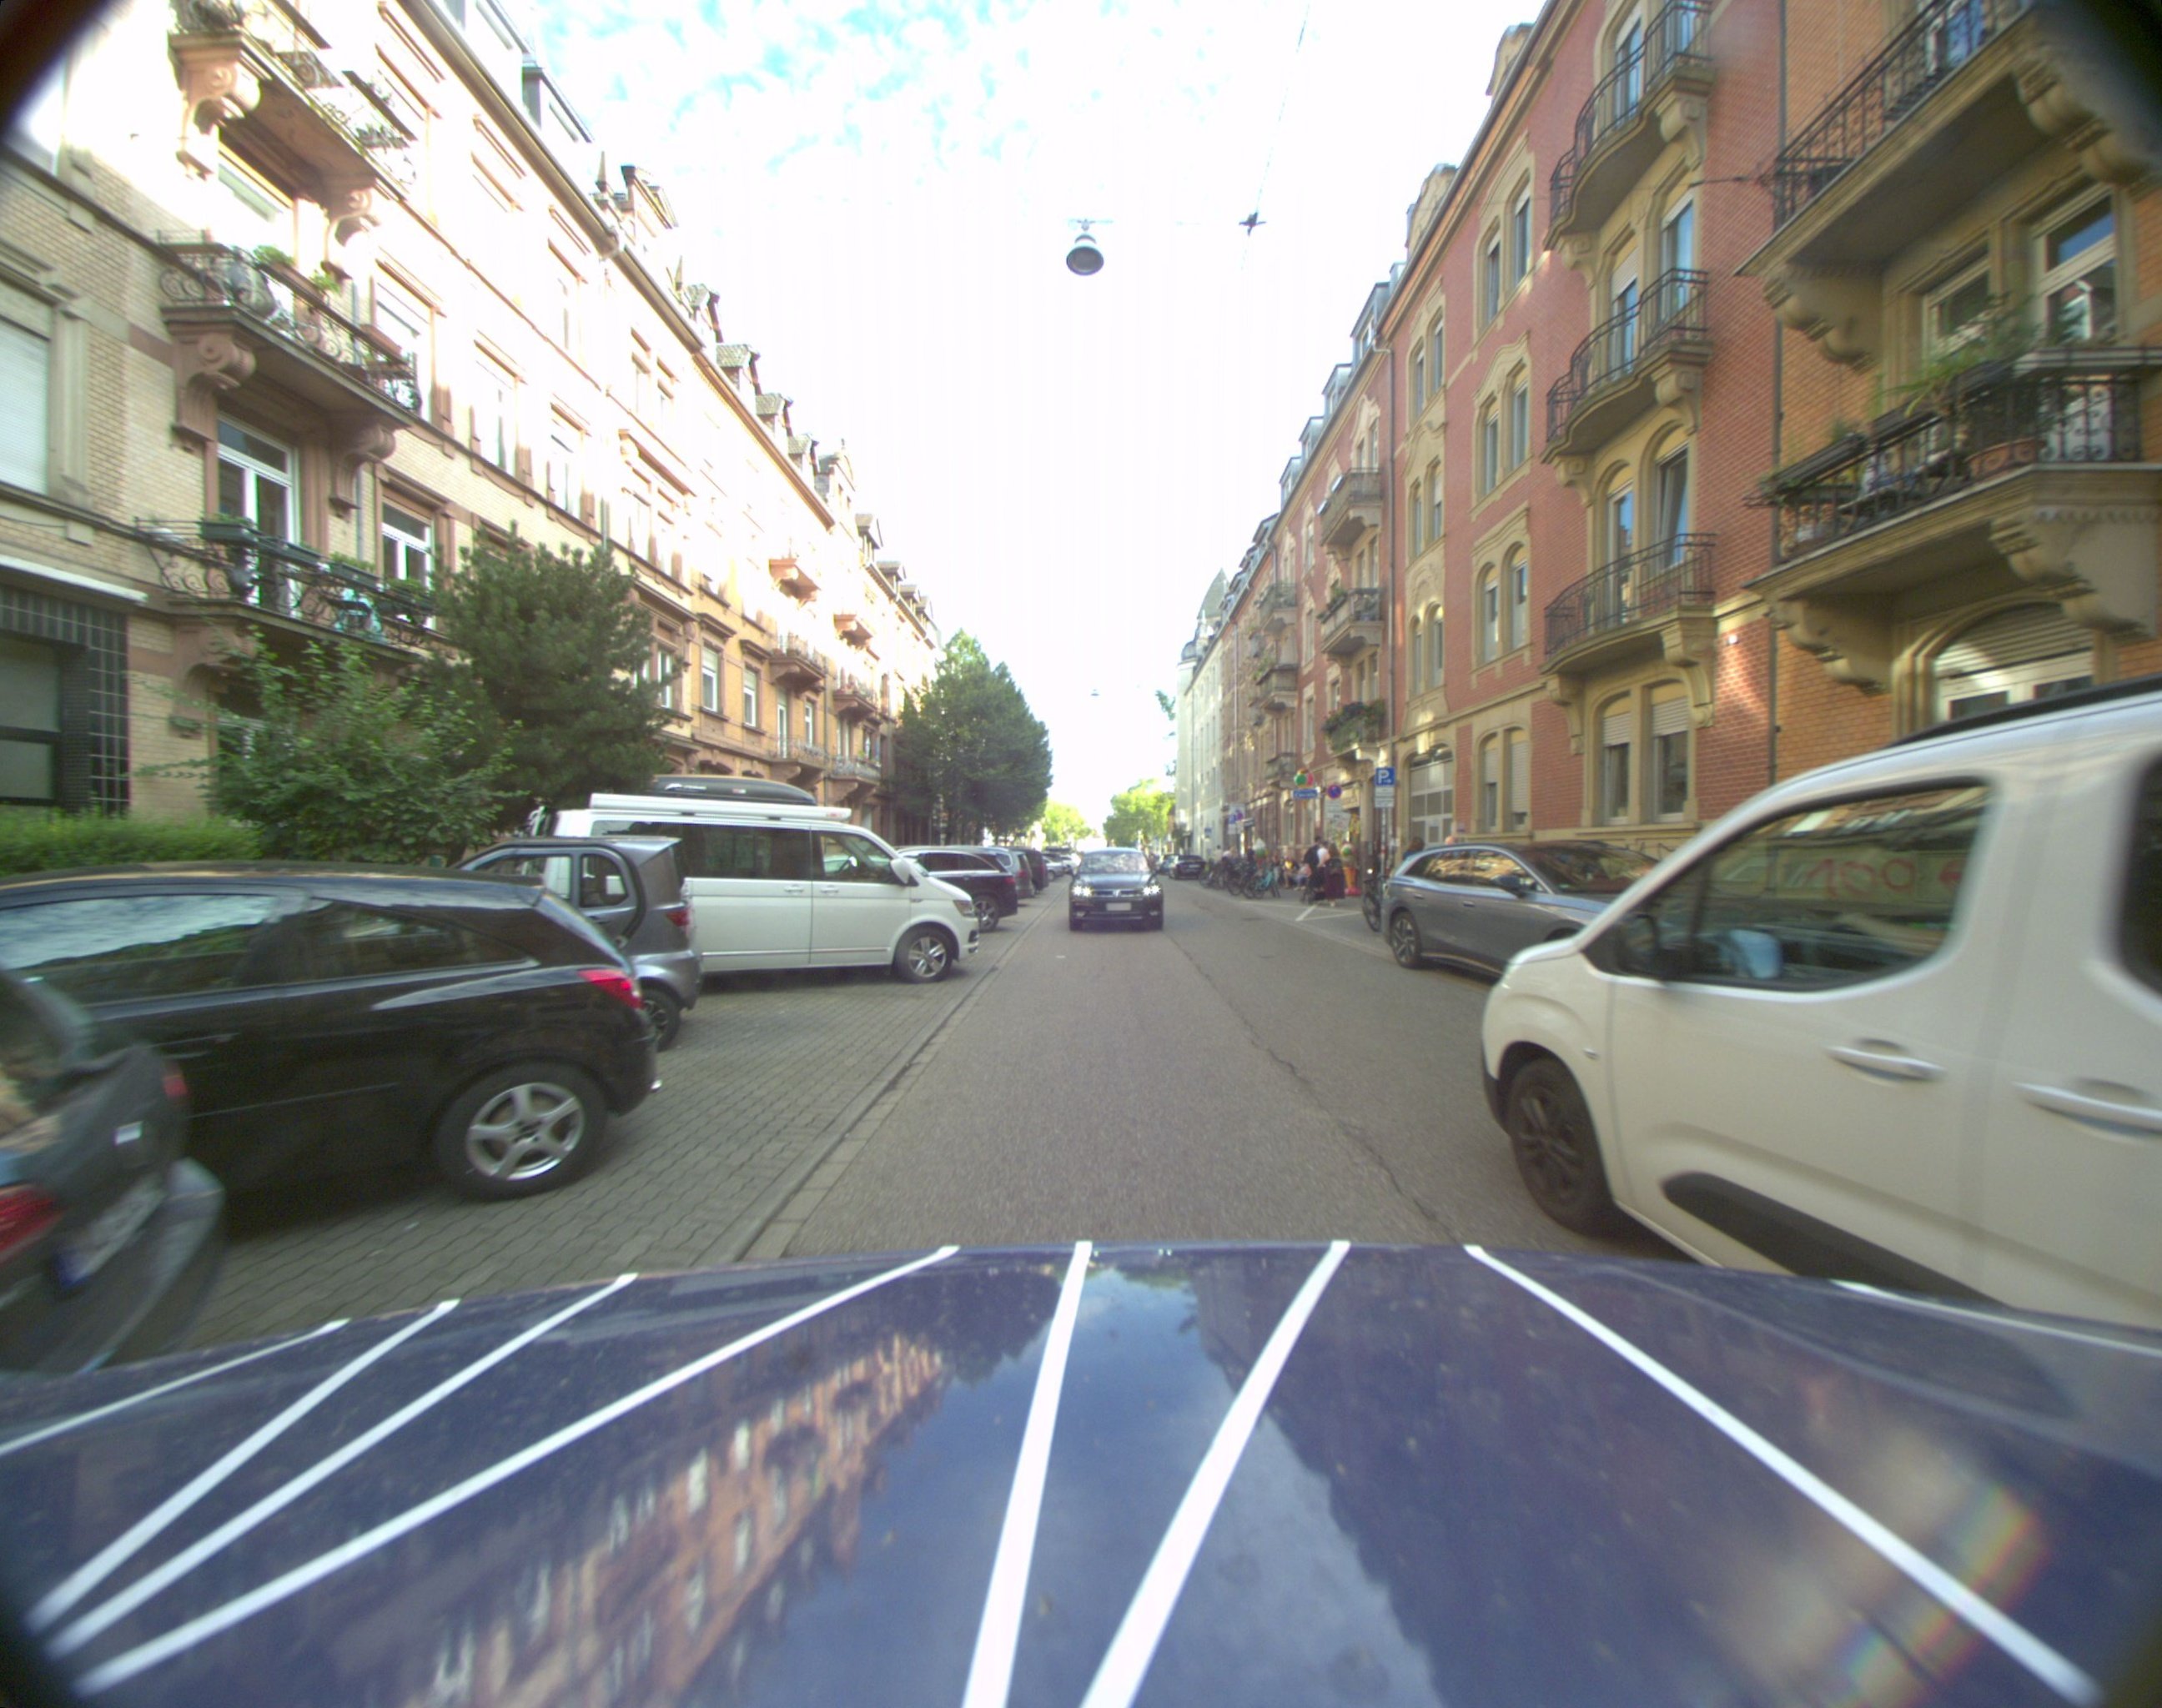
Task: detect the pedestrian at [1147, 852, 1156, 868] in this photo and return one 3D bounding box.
[{"bbox_3d":[6.224,0.507,66.863,0.738,1.341,0.644,-1,1,4],"label":"pedestrian"}]

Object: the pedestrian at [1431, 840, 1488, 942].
[{"bbox_3d":[6.404,0.608,12.855,0.682,1.651,0.550,-2,1,-29],"label":"pedestrian"}]

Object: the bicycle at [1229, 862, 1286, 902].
[{"bbox_3d":[5.555,0.850,23.817,0.806,1.152,2.274,-1,1,39],"label":"bicycle"}]

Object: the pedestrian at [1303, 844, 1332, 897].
[{"bbox_3d":[7.691,0.531,24.744,0.566,1.686,0.646,-2,1,-30],"label":"pedestrian"}]

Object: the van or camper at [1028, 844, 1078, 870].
[{"bbox_3d":[-2.503,0.230,67.769,4.006,2.166,1.995,-2,1,-29],"label":"van or camper"}]

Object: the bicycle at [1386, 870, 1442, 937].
[{"bbox_3d":[6.147,0.881,14.123,0.494,1.089,1.905,-2,1,10],"label":"bicycle"}]

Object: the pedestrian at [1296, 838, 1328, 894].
[{"bbox_3d":[7.858,0.396,25.828,0.764,1.843,0.664,-2,1,-30],"label":"pedestrian"}]

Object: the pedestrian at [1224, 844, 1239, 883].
[{"bbox_3d":[6.865,0.403,34.593,0.605,1.741,0.946,-1,1,14],"label":"pedestrian"}]

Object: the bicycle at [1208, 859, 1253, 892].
[{"bbox_3d":[5.759,0.818,29.174,1.794,1.193,0.589,-2,1,-35],"label":"bicycle"}]

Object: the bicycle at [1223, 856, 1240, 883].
[{"bbox_3d":[6.250,0.631,31.458,0.579,1.084,1.740,-1,0,14],"label":"bicycle"}]

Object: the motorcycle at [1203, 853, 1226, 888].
[{"bbox_3d":[5.570,0.675,31.693,0.708,1.376,2.026,-1,0,16],"label":"motorcycle"}]

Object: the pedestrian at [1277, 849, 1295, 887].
[{"bbox_3d":[8.105,0.541,30.080,0.605,1.461,0.726,-1,1,12],"label":"pedestrian"}]

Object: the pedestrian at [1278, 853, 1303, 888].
[{"bbox_3d":[7.994,0.634,29.013,0.725,1.306,0.606,-1,1,-2],"label":"pedestrian"}]

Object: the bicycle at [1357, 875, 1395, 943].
[{"bbox_3d":[5.383,0.967,13.823,0.482,1.053,1.907,-2,1,25],"label":"bicycle"}]

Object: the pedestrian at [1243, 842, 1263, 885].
[{"bbox_3d":[7.549,0.402,33.398,0.646,1.881,0.602,-1,1,31],"label":"pedestrian"}]

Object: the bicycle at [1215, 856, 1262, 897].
[{"bbox_3d":[5.412,0.758,26.052,1.680,1.314,0.526,-2,1,-34],"label":"bicycle"}]

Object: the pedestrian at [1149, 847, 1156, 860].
[{"bbox_3d":[9.123,-0.058,97.192,0.845,1.699,0.879,-1,1,1],"label":"pedestrian"}]

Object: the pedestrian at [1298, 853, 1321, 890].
[{"bbox_3d":[8.234,0.642,27.398,0.703,1.306,0.373,-1,1,-3],"label":"pedestrian"}]

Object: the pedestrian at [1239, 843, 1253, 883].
[{"bbox_3d":[7.392,0.388,34.073,0.605,1.741,0.726,-1,1,12],"label":"pedestrian"}]

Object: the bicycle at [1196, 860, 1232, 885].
[{"bbox_3d":[5.997,0.824,34.349,1.577,1.110,0.375,-1,1,40],"label":"bicycle"}]

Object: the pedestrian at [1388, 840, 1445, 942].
[{"bbox_3d":[5.763,0.618,13.048,0.566,1.699,0.666,-2,1,-34],"label":"pedestrian"}]

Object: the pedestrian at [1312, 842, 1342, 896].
[{"bbox_3d":[7.833,0.482,24.222,0.667,1.686,0.584,-2,1,-29],"label":"pedestrian"}]

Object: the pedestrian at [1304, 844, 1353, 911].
[{"bbox_3d":[6.329,0.590,19.460,0.914,1.651,0.827,-2,1,-7],"label":"pedestrian"}]

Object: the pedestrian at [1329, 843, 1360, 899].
[{"bbox_3d":[8.186,0.508,23.595,0.665,1.686,0.763,-2,1,1],"label":"pedestrian"}]

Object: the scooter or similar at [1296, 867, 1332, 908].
[{"bbox_3d":[6.261,0.892,20.416,0.607,1.049,0.922,-2,1,-4],"label":"scooter or similar"}]

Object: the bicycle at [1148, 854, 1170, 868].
[{"bbox_3d":[6.699,0.584,65.147,1.872,1.168,0.688,-1,1,3],"label":"bicycle"}]

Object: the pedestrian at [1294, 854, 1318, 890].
[{"bbox_3d":[8.215,0.658,27.810,0.719,1.306,0.439,-1,1,-3],"label":"pedestrian"}]

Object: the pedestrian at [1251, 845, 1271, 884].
[{"bbox_3d":[8.219,0.463,34.733,0.688,1.749,0.667,-1,1,31],"label":"pedestrian"}]

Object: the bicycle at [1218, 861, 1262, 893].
[{"bbox_3d":[5.980,0.856,28.581,1.741,1.114,0.554,-2,1,-35],"label":"bicycle"}]

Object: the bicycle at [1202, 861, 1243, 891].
[{"bbox_3d":[5.556,0.837,29.795,1.573,1.114,0.589,-2,1,-35],"label":"bicycle"}]
